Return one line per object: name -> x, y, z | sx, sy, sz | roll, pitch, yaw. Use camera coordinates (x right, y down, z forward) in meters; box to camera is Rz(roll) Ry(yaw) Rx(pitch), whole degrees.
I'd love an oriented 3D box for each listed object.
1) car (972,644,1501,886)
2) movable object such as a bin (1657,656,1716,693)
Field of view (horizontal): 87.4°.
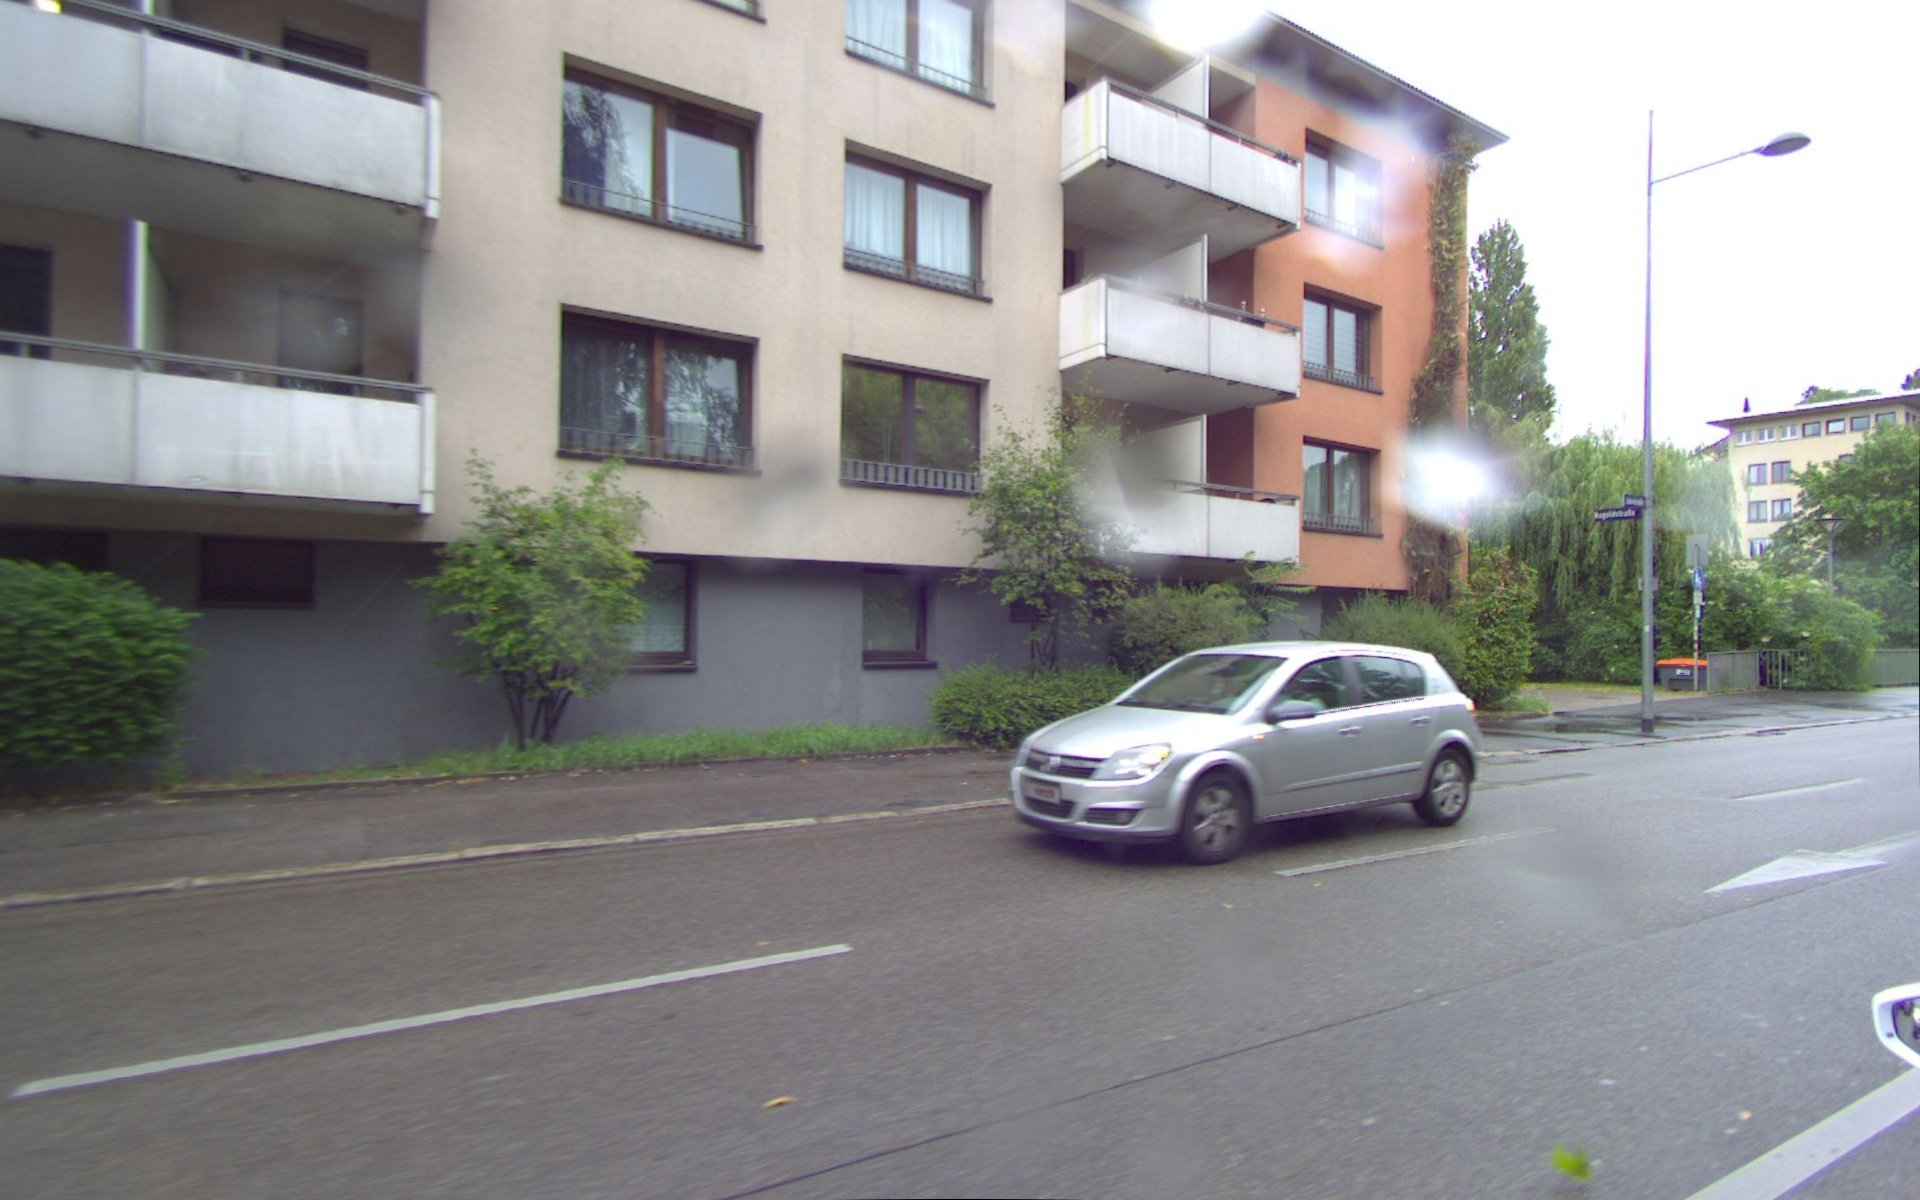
car -> 2.258, 1.089, 7.966 | 4.002, 1.434, 1.804 | 1, -3, -31
movable object such as a bin -> 18.254, 1.865, 25.248 | 0.822, 0.888, 0.961 | 2, -2, -30
